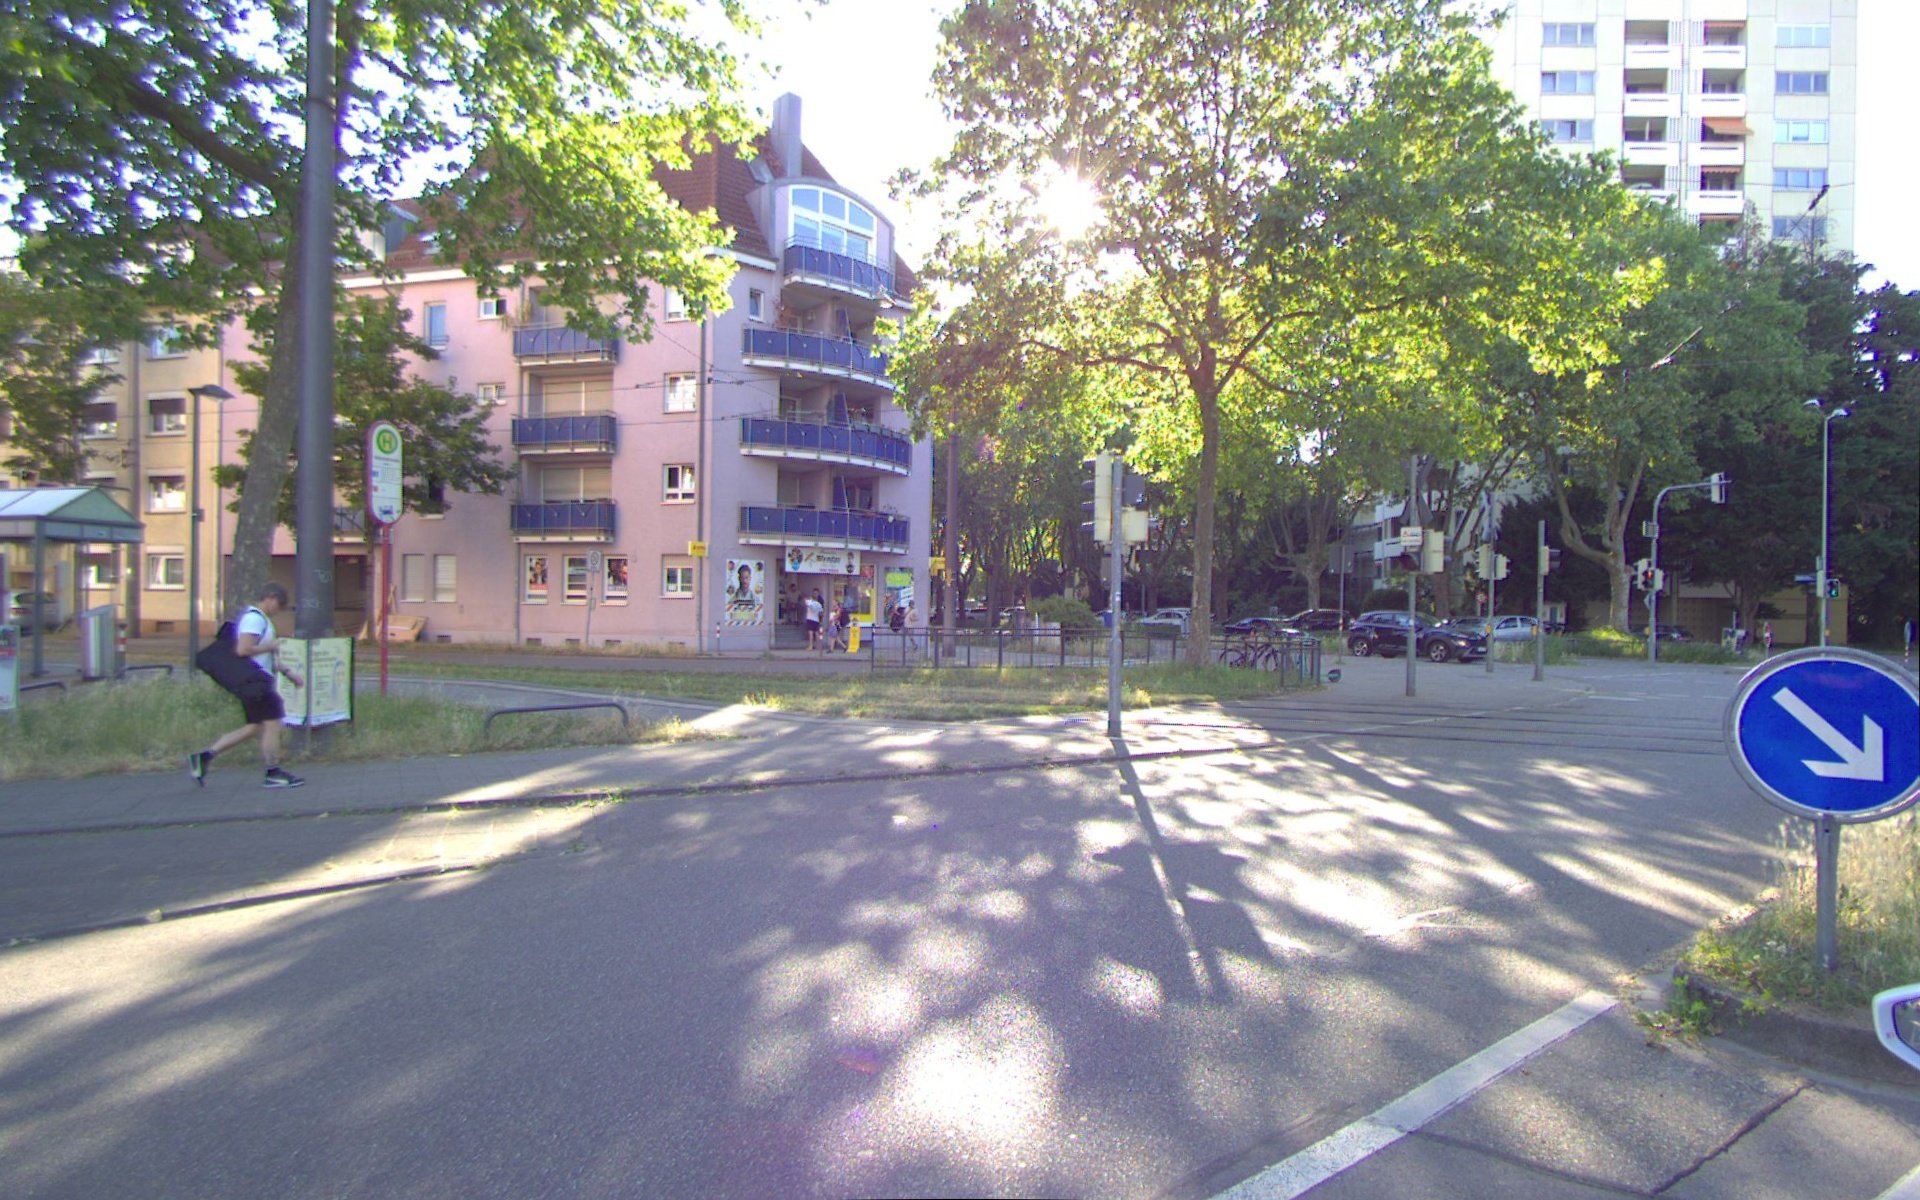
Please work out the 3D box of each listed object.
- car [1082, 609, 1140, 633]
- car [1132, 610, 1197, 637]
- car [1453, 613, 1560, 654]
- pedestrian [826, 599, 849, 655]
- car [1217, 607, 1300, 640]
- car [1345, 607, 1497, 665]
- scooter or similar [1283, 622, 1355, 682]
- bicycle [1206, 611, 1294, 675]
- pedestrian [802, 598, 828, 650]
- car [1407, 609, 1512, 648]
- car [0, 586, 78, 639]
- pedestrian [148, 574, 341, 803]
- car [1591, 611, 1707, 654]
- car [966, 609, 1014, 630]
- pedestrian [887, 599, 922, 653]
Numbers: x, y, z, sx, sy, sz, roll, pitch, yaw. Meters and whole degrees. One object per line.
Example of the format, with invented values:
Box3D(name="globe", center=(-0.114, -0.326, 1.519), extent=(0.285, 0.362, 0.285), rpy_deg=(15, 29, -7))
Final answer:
Box3D(name="car", center=(11.085, 1.517, 73.901), extent=(3.921, 1.617, 1.738), rpy_deg=(2, 0, 0))
Box3D(name="car", center=(13.404, 1.546, 65.986), extent=(3.921, 1.617, 1.738), rpy_deg=(2, 0, 0))
Box3D(name="car", center=(23.882, 1.451, 43.986), extent=(3.732, 1.617, 1.738), rpy_deg=(2, 0, 0))
Box3D(name="pedestrian", center=(-3.758, 0.814, 30.786), extent=(0.609, 1.689, 0.549), rpy_deg=(2, 0, -14))
Box3D(name="car", center=(15.915, 1.236, 53.684), extent=(3.921, 1.617, 1.738), rpy_deg=(2, 0, 0))
Box3D(name="car", center=(14.341, 1.098, 31.419), extent=(1.722, 1.617, 3.959), rpy_deg=(2, 0, -36))
Box3D(name="scooter or similar", center=(7.925, 1.147, 22.207), extent=(1.412, 1.255, 0.414), rpy_deg=(2, 0, 9))
Box3D(name="bicycle", center=(6.401, 0.925, 22.248), extent=(1.811, 1.324, 0.382), rpy_deg=(2, 0, 34))
Box3D(name="pedestrian", center=(-4.718, 0.778, 32.707), extent=(0.610, 1.689, 0.549), rpy_deg=(2, 0, 38))
Box3D(name="car", center=(22.843, 1.294, 46.036), extent=(3.921, 1.617, 1.738), rpy_deg=(2, 0, 0))
Box3D(name="car", center=(-33.476, 0.390, 35.220), extent=(4.029, 1.728, 1.940), rpy_deg=(2, 0, 16))
Box3D(name="pedestrian", center=(-5.983, 0.686, 8.419), extent=(0.889, 1.760, 1.084), rpy_deg=(2, 0, 38))
Box3D(name="car", center=(31.620, 1.460, 46.206), extent=(1.971, 1.798, 3.979), rpy_deg=(2, 0, -22))
Box3D(name="car", center=(2.609, 1.661, 86.369), extent=(3.919, 1.617, 1.739), rpy_deg=(2, 0, 9))
Box3D(name="pedestrian", center=(-1.776, 0.839, 32.219), extent=(0.910, 1.689, 0.619), rpy_deg=(2, 0, 30))
